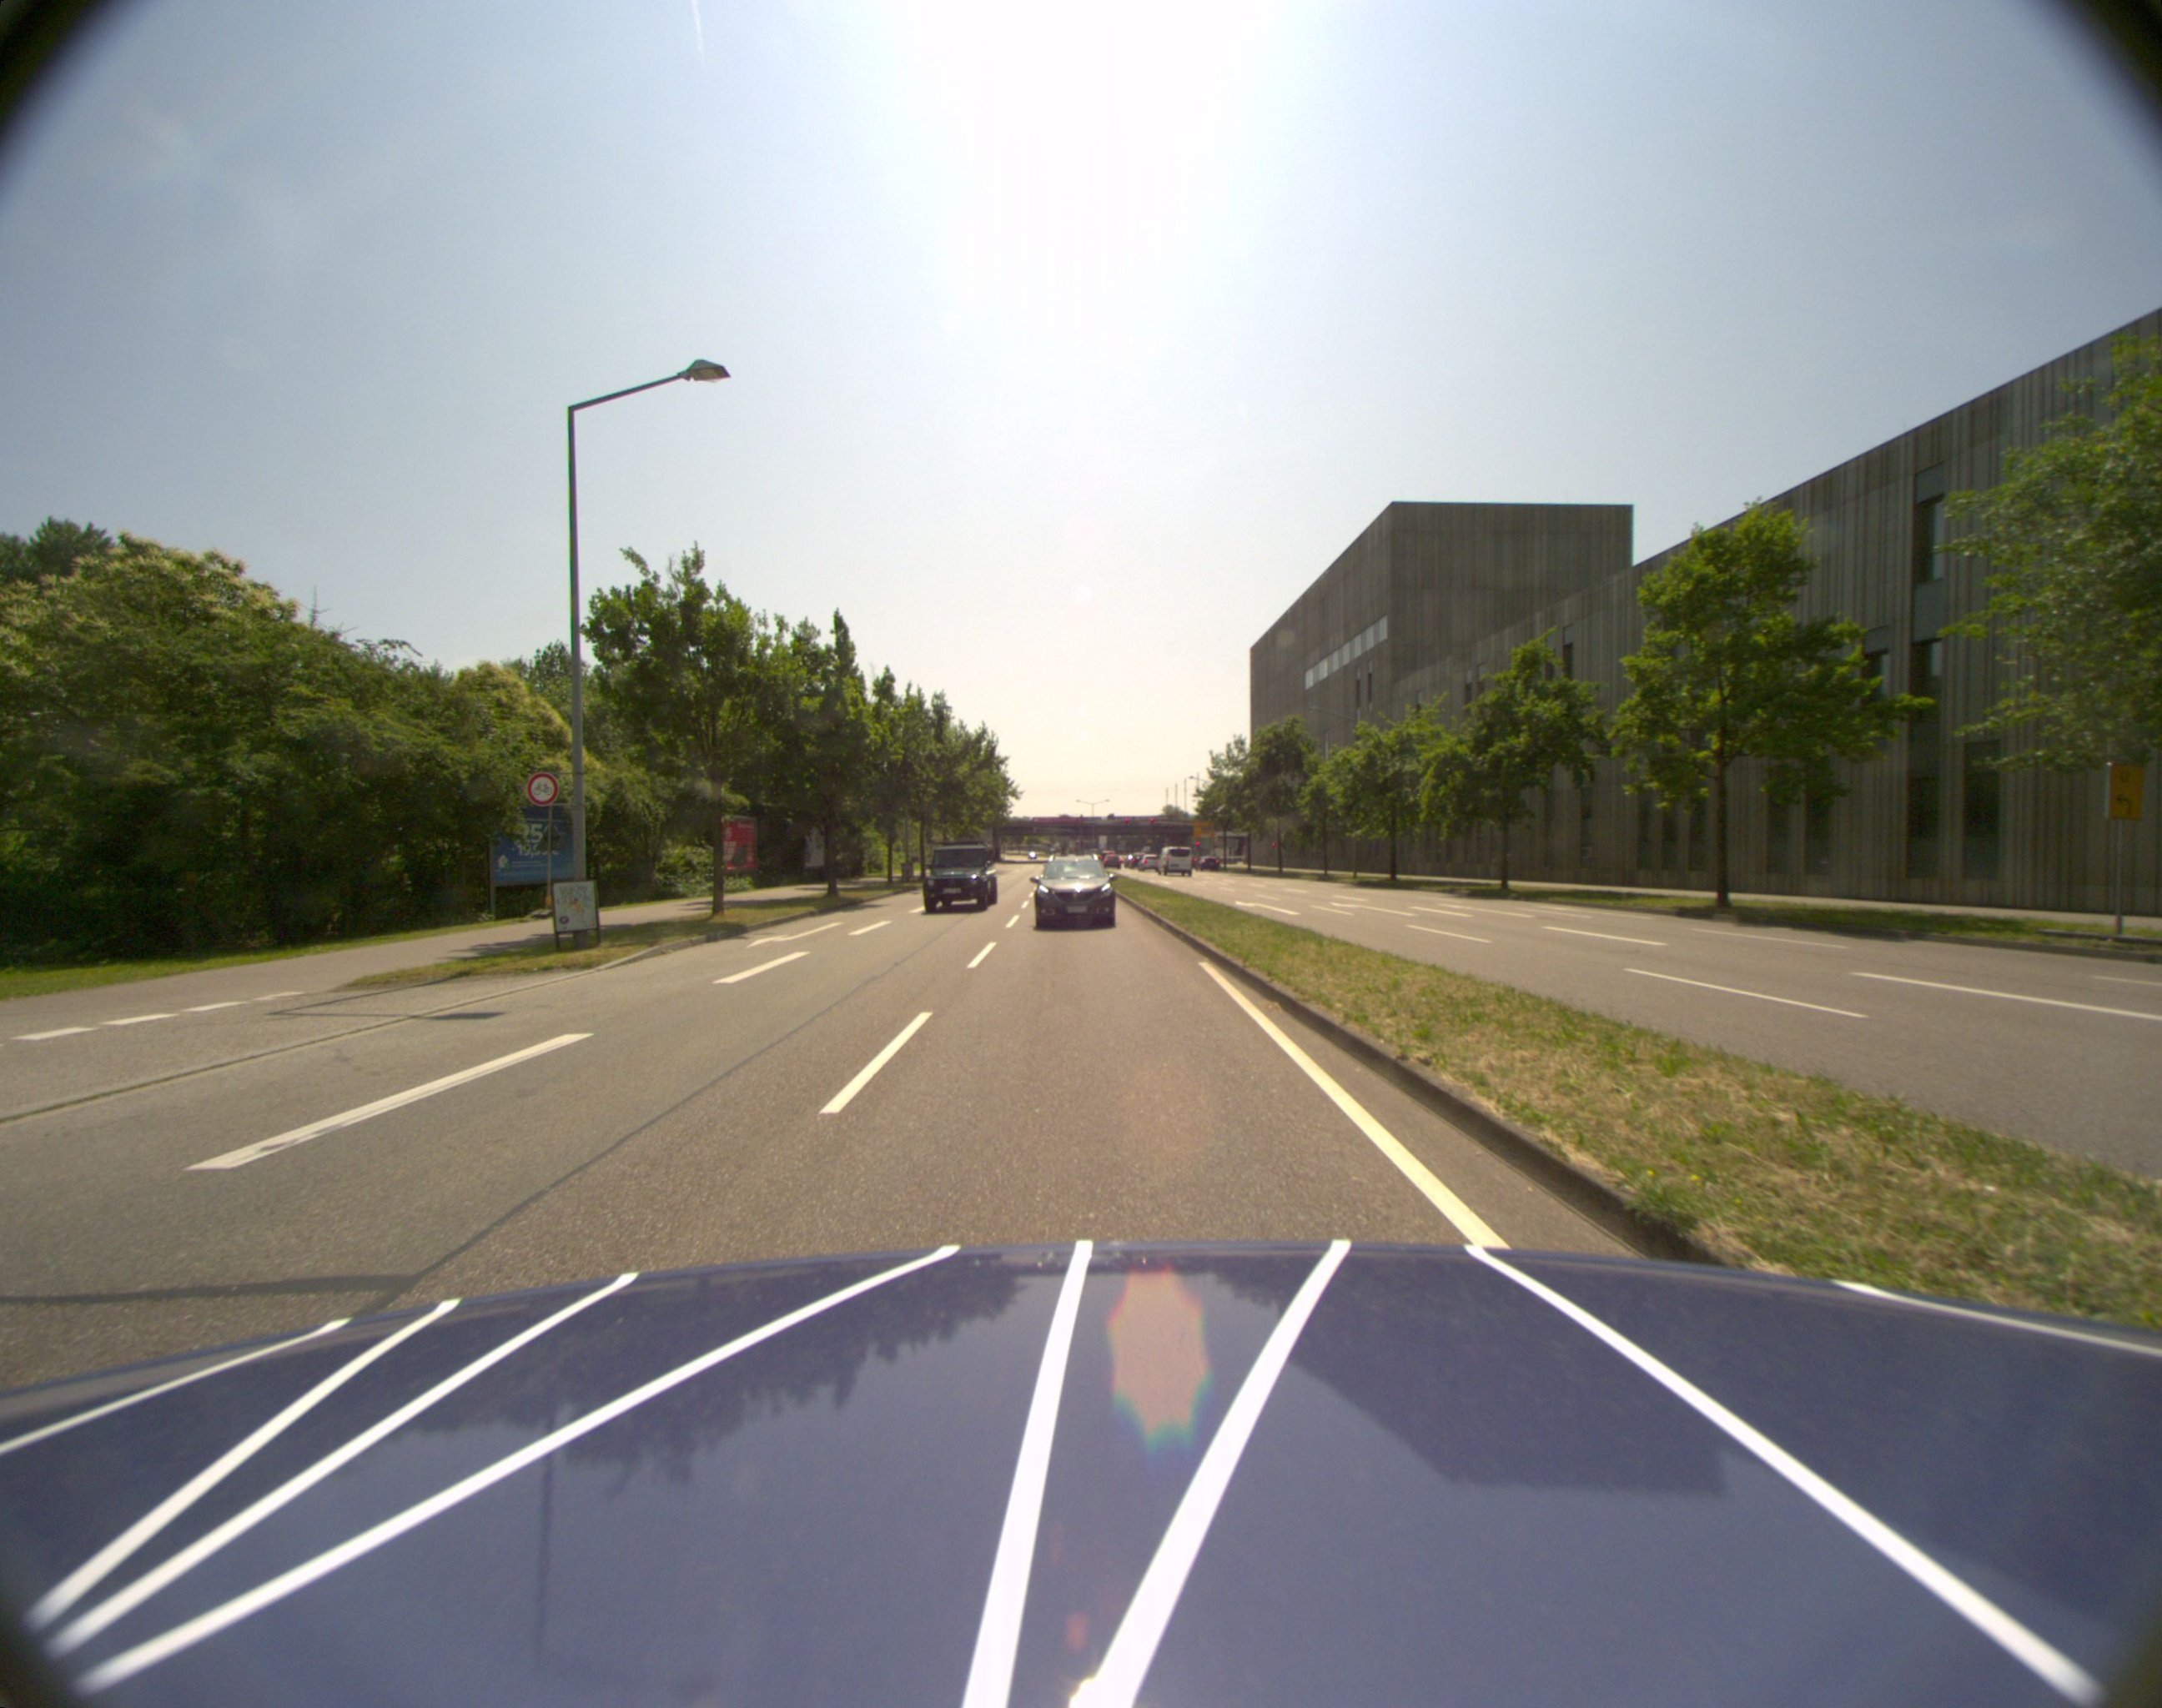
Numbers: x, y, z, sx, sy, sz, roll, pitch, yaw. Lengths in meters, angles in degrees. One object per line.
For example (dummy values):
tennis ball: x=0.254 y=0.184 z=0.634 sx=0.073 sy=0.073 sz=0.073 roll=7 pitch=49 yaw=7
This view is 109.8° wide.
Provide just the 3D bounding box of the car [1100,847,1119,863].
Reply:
car: x=3.147 y=0.110 z=84.545 sx=1.815 sy=1.790 sz=4.713 roll=1 pitch=0 yaw=-1

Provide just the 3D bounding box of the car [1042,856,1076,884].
car: x=-1.266 y=0.870 z=43.705 sx=1.817 sy=1.456 sz=3.999 roll=0 pitch=1 yaw=-2

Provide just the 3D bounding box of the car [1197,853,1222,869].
car: x=12.251 y=0.640 z=72.813 sx=1.625 sy=1.447 sz=4.016 roll=0 pitch=0 yaw=-2

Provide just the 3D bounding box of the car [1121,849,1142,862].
car: x=5.596 y=0.176 z=84.378 sx=1.815 sy=1.437 sz=4.248 roll=1 pitch=0 yaw=-4

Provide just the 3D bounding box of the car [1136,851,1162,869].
car: x=5.961 y=0.517 z=66.923 sx=1.770 sy=1.452 sz=4.144 roll=1 pitch=0 yaw=-2

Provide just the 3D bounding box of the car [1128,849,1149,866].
car: x=5.843 y=0.340 z=77.507 sx=1.807 sy=1.653 sz=4.572 roll=1 pitch=0 yaw=0

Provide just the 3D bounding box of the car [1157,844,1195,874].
car: x=6.749 y=0.332 z=54.663 sx=1.914 sy=1.981 sz=4.896 roll=1 pitch=0 yaw=-2

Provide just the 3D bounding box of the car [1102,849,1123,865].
car: x=3.142 y=0.279 z=76.490 sx=1.815 sy=1.458 sz=4.056 roll=1 pitch=0 yaw=-2

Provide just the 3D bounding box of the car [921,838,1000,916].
car: x=-3.584 y=0.598 z=23.350 sx=1.842 sy=2.141 sz=4.556 roll=-1 pitch=1 yaw=-2

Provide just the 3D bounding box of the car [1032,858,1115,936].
car: x=-0.121 y=0.882 z=17.653 sx=1.619 sy=1.503 sz=4.458 roll=-2 pitch=0 yaw=1

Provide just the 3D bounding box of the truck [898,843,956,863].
truck: x=-23.432 y=-0.223 z=116.002 sx=8.515 sy=2.899 sz=2.885 roll=-1 pitch=1 yaw=-7

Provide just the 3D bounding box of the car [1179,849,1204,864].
car: x=11.971 y=0.244 z=82.475 sx=1.815 sy=1.534 sz=4.368 roll=-1 pitch=0 yaw=-3
